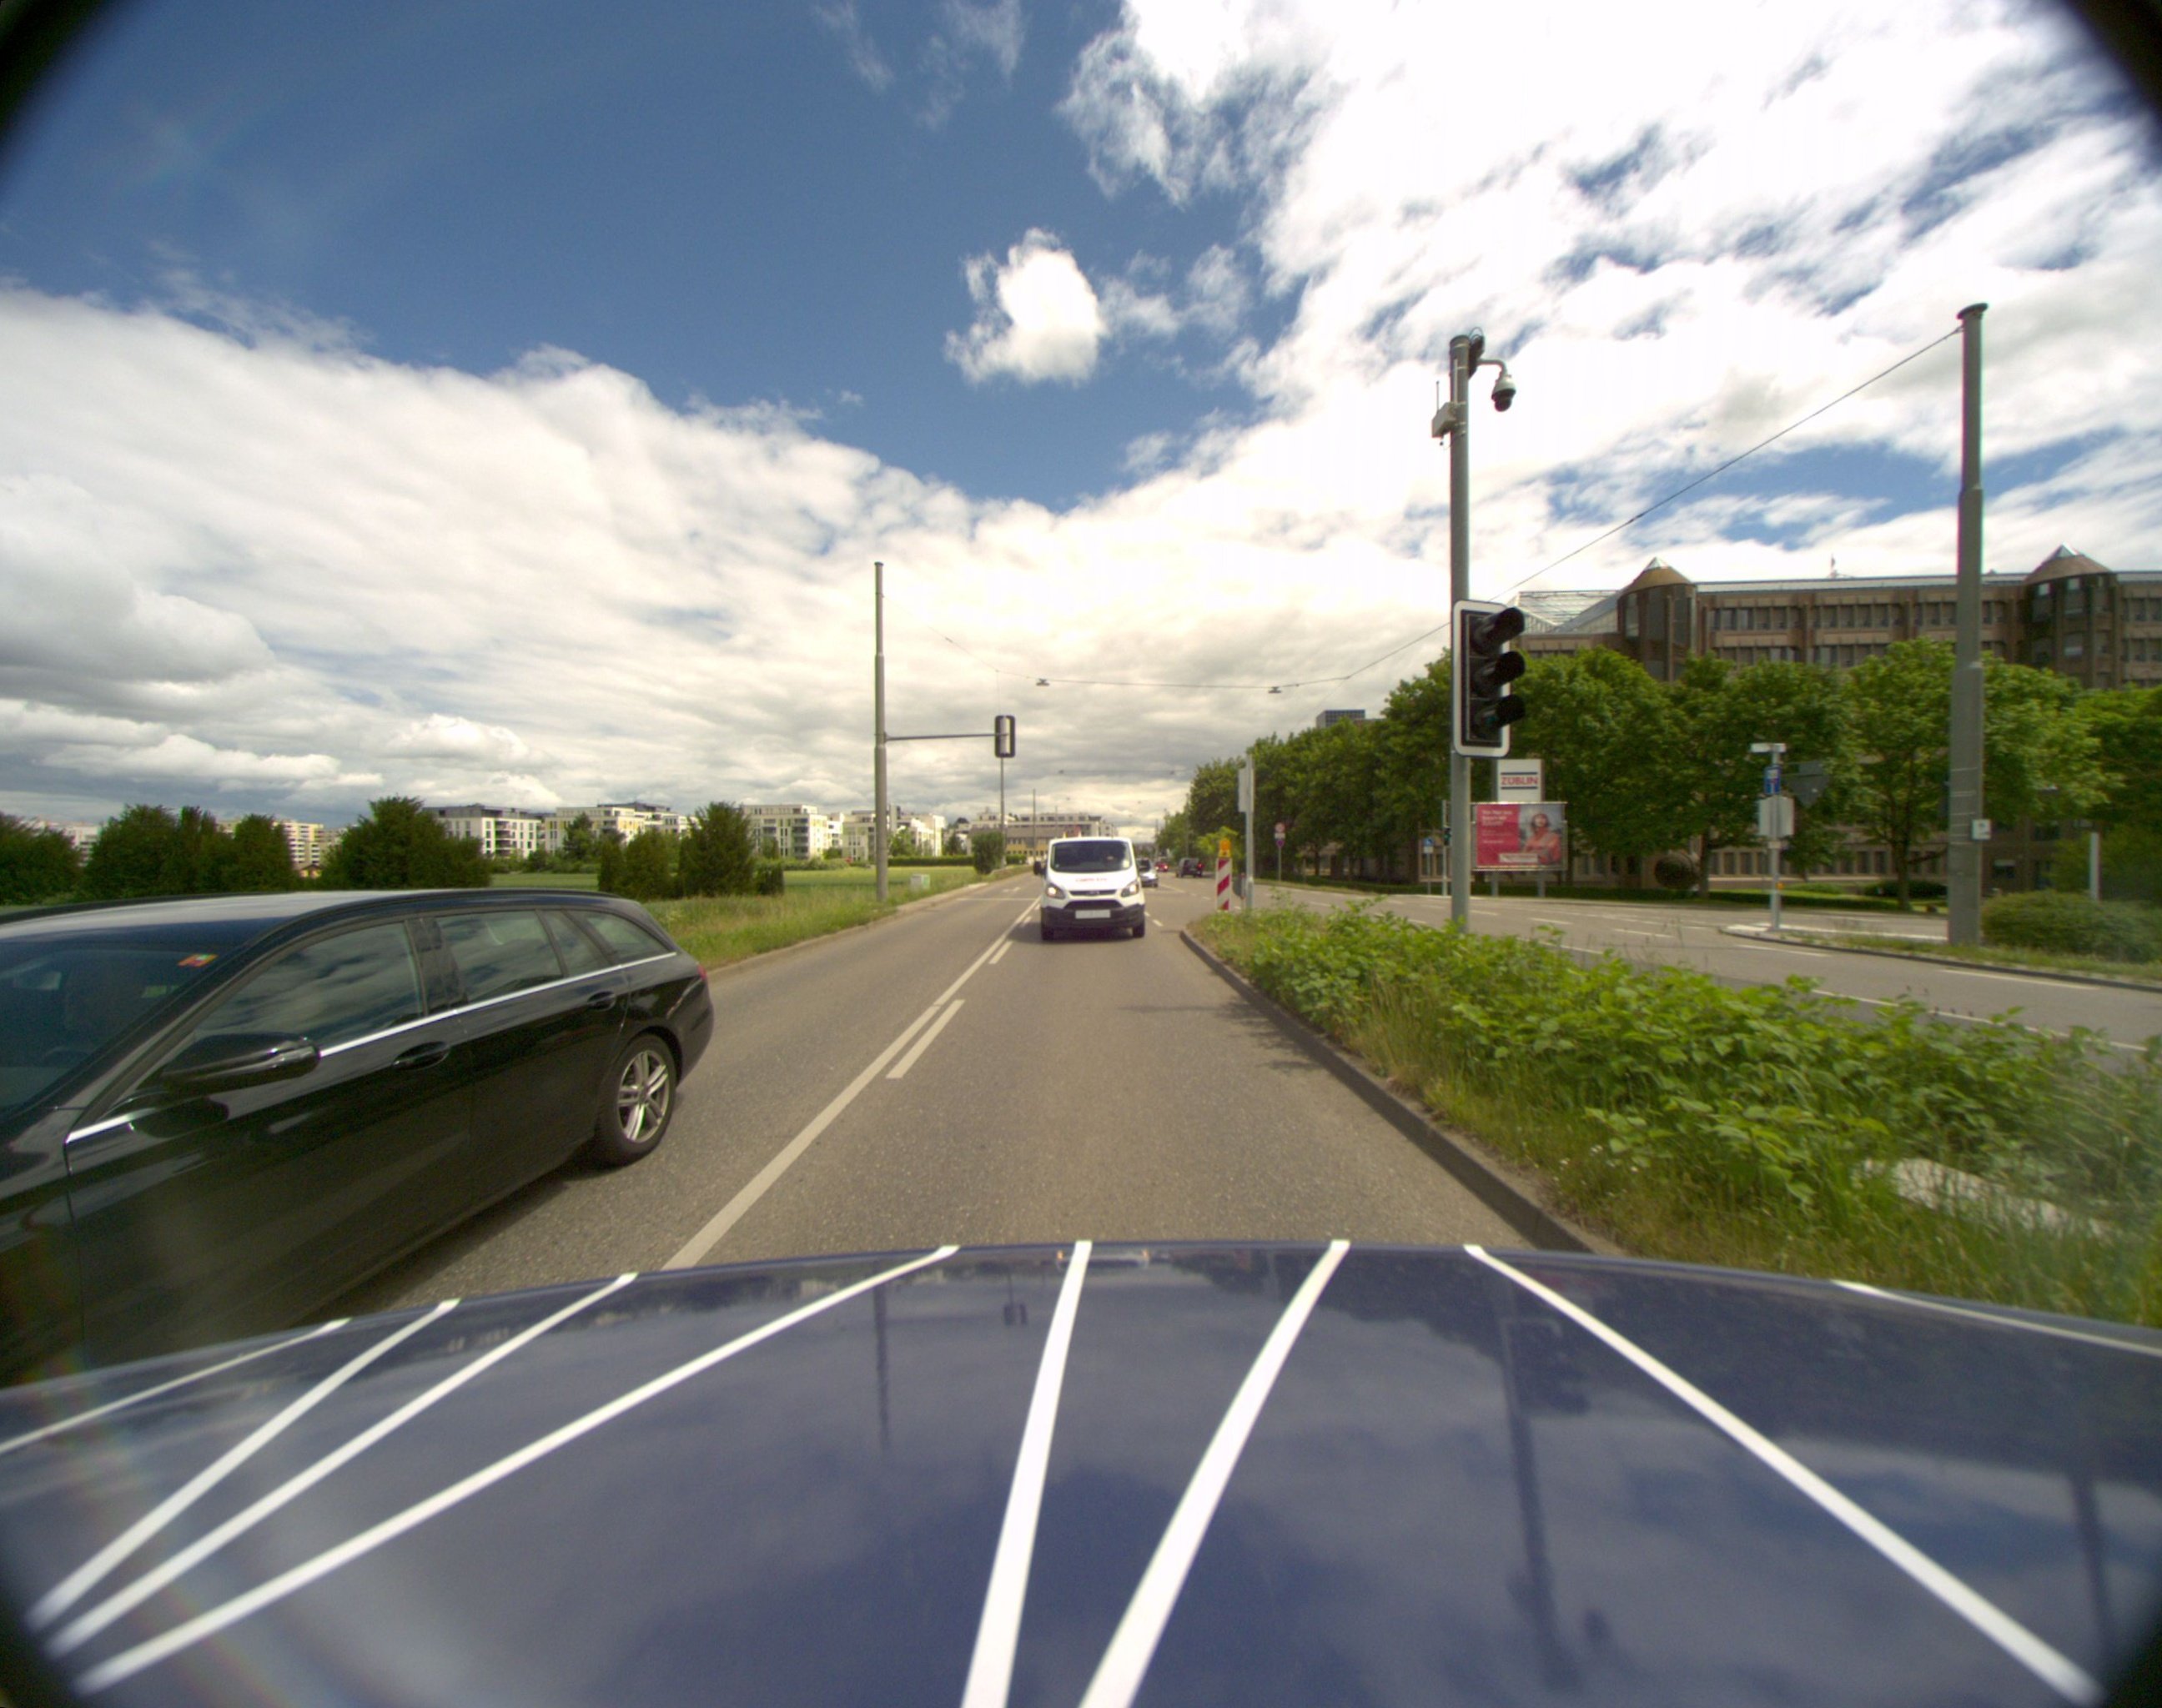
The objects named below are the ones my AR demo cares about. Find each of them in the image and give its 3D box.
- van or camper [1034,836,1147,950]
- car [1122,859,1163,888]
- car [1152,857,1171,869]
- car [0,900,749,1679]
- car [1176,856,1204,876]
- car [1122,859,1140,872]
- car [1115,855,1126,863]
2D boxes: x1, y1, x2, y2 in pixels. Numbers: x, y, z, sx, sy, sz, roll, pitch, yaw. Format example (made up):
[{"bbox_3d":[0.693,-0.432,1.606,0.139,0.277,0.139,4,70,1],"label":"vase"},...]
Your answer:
[{"bbox_3d":[0.147,0.698,16.382,1.999,2.002,5.799,-1,0,-1],"label":"van or camper"},{"bbox_3d":[3.296,1.024,41.069,1.894,1.433,4.000,-1,0,0],"label":"car"},{"bbox_3d":[9.726,1.062,92.235,1.785,1.407,3.999,1,0,-1],"label":"car"},{"bbox_3d":[-3.245,1.041,2.692,1.877,1.432,5.199,-1,0,-1],"label":"car"},{"bbox_3d":[9.687,1.024,67.838,1.998,1.692,4.761,-1,0,2],"label":"car"},{"bbox_3d":[5.715,1.323,87.541,1.796,1.439,4.421,-1,0,0],"label":"car"},{"bbox_3d":[7.939,1.037,152.848,1.800,1.445,4.000,1,0,-1],"label":"car"}]
